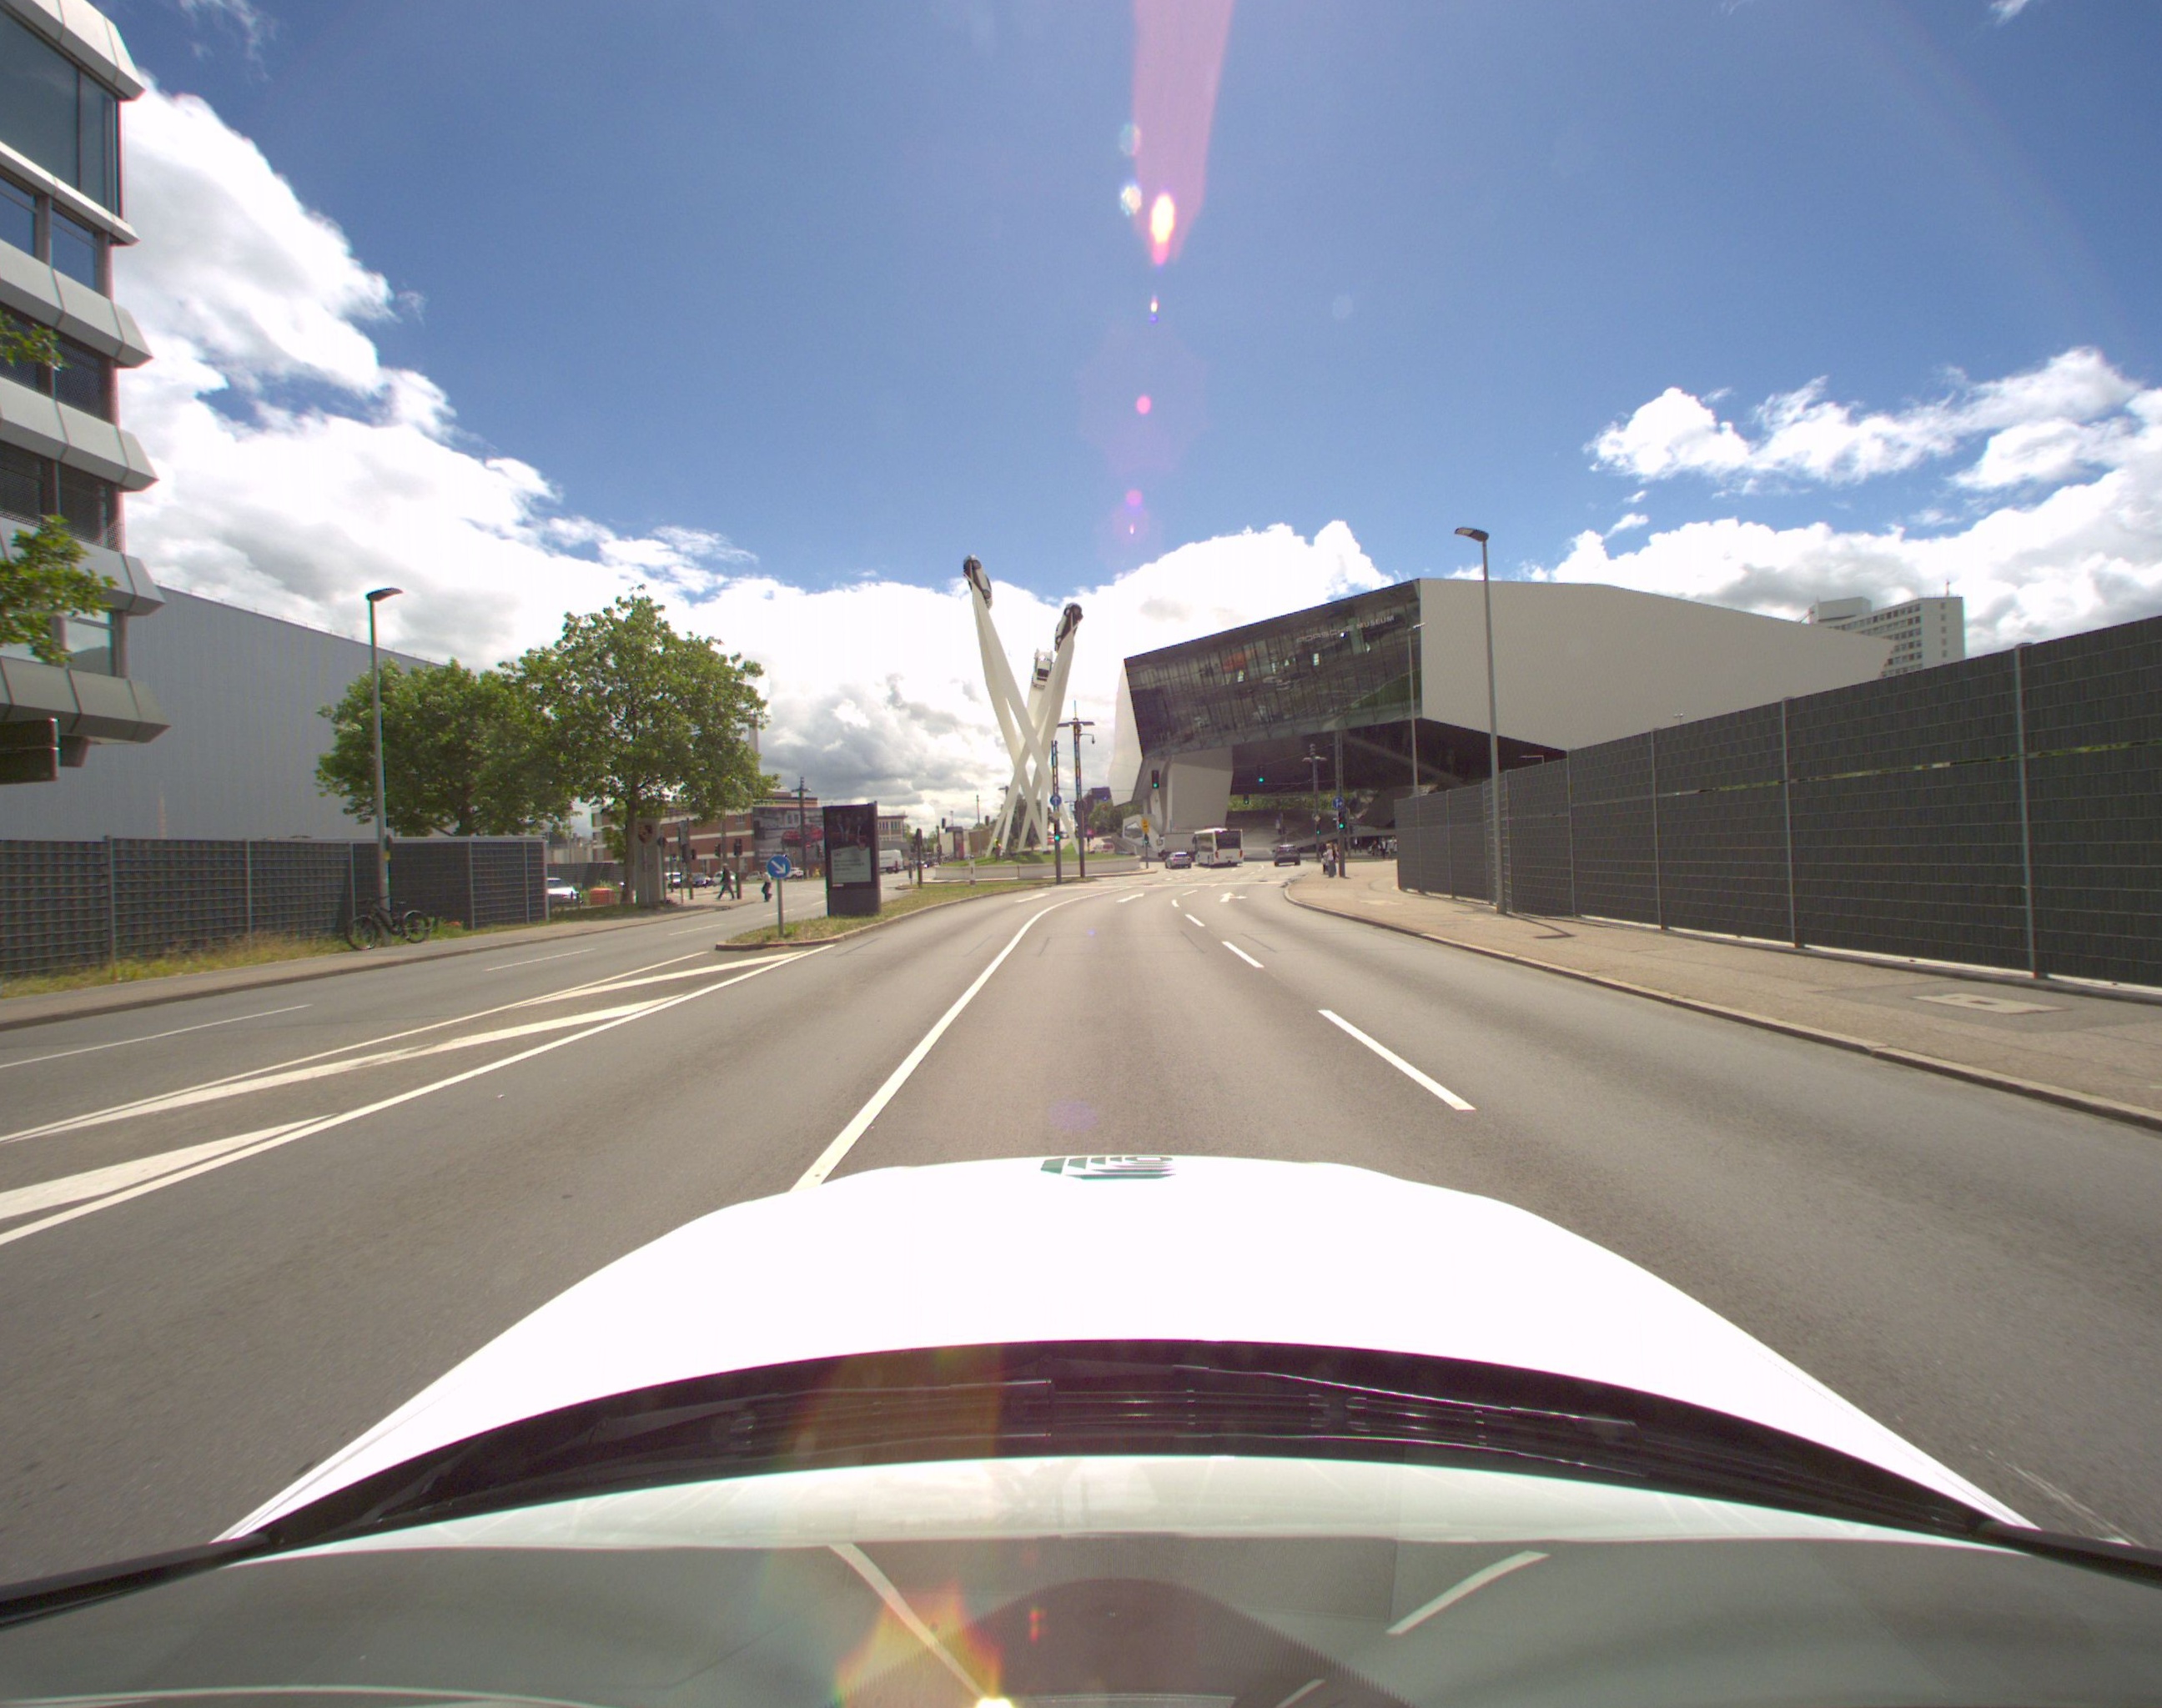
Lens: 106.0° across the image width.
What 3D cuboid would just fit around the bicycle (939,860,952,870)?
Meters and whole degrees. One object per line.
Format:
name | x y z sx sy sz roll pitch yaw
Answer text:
bicycle | -18.473 1.544 111.089 1.601 1.383 0.492 -1 -1 -1

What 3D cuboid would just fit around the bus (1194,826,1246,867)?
bus | 12.508 -0.536 74.457 3.060 3.362 12.227 -1 -1 2

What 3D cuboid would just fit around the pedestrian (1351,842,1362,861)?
pedestrian | 28.690 -0.268 84.733 0.946 1.984 1.387 -1 1 16

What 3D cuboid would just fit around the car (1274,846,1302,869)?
car | 15.996 0.251 62.945 1.980 1.636 4.014 -1 0 13

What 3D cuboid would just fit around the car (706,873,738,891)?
car | -36.961 2.851 83.820 1.922 1.797 3.730 0 -2 -42

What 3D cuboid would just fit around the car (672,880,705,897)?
car | -38.587 3.353 80.049 1.813 1.556 3.909 0 -2 -44

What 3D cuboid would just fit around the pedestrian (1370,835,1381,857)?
pedestrian | 24.563 -0.633 67.898 0.623 1.795 0.665 0 -2 -43

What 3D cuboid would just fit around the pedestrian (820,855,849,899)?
pedestrian | -11.699 1.098 38.662 0.944 2.055 0.955 -1 -1 19

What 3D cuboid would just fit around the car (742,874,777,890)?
car | -33.932 2.944 85.879 3.949 1.577 2.012 -2 -2 43

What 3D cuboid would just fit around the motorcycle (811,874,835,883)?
motorcycle | -33.209 3.171 104.865 2.880 1.196 0.924 -1 -1 18

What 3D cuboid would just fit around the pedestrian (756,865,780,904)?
pedestrian | -14.407 1.397 37.500 0.864 1.774 1.030 -1 -1 -13

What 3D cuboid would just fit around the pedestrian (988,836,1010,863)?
pedestrian | -5.917 -0.357 59.035 1.285 1.816 0.981 -6 5 -16

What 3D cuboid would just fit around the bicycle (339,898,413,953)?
bicycle | -15.827 1.581 18.317 0.295 1.131 1.486 -1 -1 4

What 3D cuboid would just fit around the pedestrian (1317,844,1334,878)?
pedestrian | 11.871 0.342 39.535 0.655 1.608 0.825 -1 -1 11

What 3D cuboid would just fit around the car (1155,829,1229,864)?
car | 12.060 -0.722 89.627 3.354 3.504 9.257 0 -1 -27

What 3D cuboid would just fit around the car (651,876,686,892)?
car | -42.561 3.067 83.994 4.237 1.624 2.012 -2 -2 44

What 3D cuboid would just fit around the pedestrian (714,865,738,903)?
pedestrian | -17.153 1.438 39.335 0.864 1.774 1.030 -1 -1 -13

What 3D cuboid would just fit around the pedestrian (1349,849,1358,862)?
pedestrian | 35.309 0.197 105.540 0.827 1.573 0.920 -1 -1 -9

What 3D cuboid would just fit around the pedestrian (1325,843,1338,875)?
pedestrian | 12.978 0.262 42.251 0.462 1.616 0.663 -1 -1 3

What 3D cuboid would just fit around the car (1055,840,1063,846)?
car | -5.637 -2.805 212.677 1.748 1.397 4.676 -1 2 2

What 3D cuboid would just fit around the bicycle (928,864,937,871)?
bicycle | -19.479 1.750 106.781 0.488 0.866 1.616 -3 2 11

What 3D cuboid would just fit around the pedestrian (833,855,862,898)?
pedestrian | -11.359 1.096 39.623 0.944 2.055 0.955 -1 -1 19

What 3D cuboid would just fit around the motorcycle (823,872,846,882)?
motorcycle | -32.358 3.051 106.835 2.880 1.196 0.924 -1 -1 18

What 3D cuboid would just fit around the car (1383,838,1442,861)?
car | 25.843 -0.343 63.534 4.004 1.703 1.985 -1 -1 -23

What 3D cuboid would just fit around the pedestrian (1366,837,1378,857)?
pedestrian | 24.087 -0.569 67.382 0.676 1.638 0.613 0 -2 -37

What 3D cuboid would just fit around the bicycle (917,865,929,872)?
bicycle | -20.273 1.858 104.439 0.486 0.866 1.621 -2 3 28

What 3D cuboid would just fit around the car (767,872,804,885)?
car | -36.705 3.000 101.162 3.953 1.501 2.010 -1 -1 20

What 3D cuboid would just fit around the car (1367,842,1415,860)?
car | 30.309 -0.275 79.783 3.966 1.550 1.842 -3 -1 6

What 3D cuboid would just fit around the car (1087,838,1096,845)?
car | 2.630 -3.188 206.783 1.986 1.635 4.658 -1 1 2

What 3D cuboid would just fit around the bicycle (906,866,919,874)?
bicycle | -21.282 2.003 102.831 0.486 0.866 1.621 -2 1 41

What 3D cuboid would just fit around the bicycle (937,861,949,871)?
bicycle | -18.556 1.588 109.451 1.601 1.316 0.492 -1 -1 -1

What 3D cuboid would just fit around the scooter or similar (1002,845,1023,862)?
scooter or similar | -5.019 -0.033 59.459 1.405 1.025 0.546 -6 5 -19

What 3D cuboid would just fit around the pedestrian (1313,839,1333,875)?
pedestrian | 12.733 0.143 42.911 0.660 1.866 0.789 -1 -1 -14

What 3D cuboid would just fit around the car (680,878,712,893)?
car | -42.520 3.491 89.930 4.171 1.556 1.836 -2 -2 43

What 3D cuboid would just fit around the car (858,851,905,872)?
car | -22.523 0.865 91.985 4.614 2.171 2.004 -1 -1 8

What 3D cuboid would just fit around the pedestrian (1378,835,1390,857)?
pedestrian | 25.319 -0.681 68.091 0.664 1.847 0.624 -2 -2 45

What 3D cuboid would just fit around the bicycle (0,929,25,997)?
bicycle | -16.444 1.643 11.883 0.294 1.006 1.255 -1 -1 11

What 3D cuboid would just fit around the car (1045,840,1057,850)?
car | -6.795 -2.042 183.672 1.983 1.983 4.846 -3 1 6

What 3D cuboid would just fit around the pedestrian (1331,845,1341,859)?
pedestrian | 25.917 -0.203 82.667 0.585 1.496 0.764 0 -2 -32

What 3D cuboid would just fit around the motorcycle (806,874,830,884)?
motorcycle | -33.567 3.171 103.902 2.880 1.196 0.924 -1 -1 18

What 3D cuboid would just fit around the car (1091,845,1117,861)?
car | 2.911 -0.143 104.918 2.000 1.904 3.973 -1 -1 -19

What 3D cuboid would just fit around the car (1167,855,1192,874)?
car | 8.898 0.959 73.510 1.985 1.637 4.004 -1 -1 4

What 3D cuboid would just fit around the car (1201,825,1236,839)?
car | 19.257 -3.087 113.913 2.012 1.394 4.459 -7 10 -43
